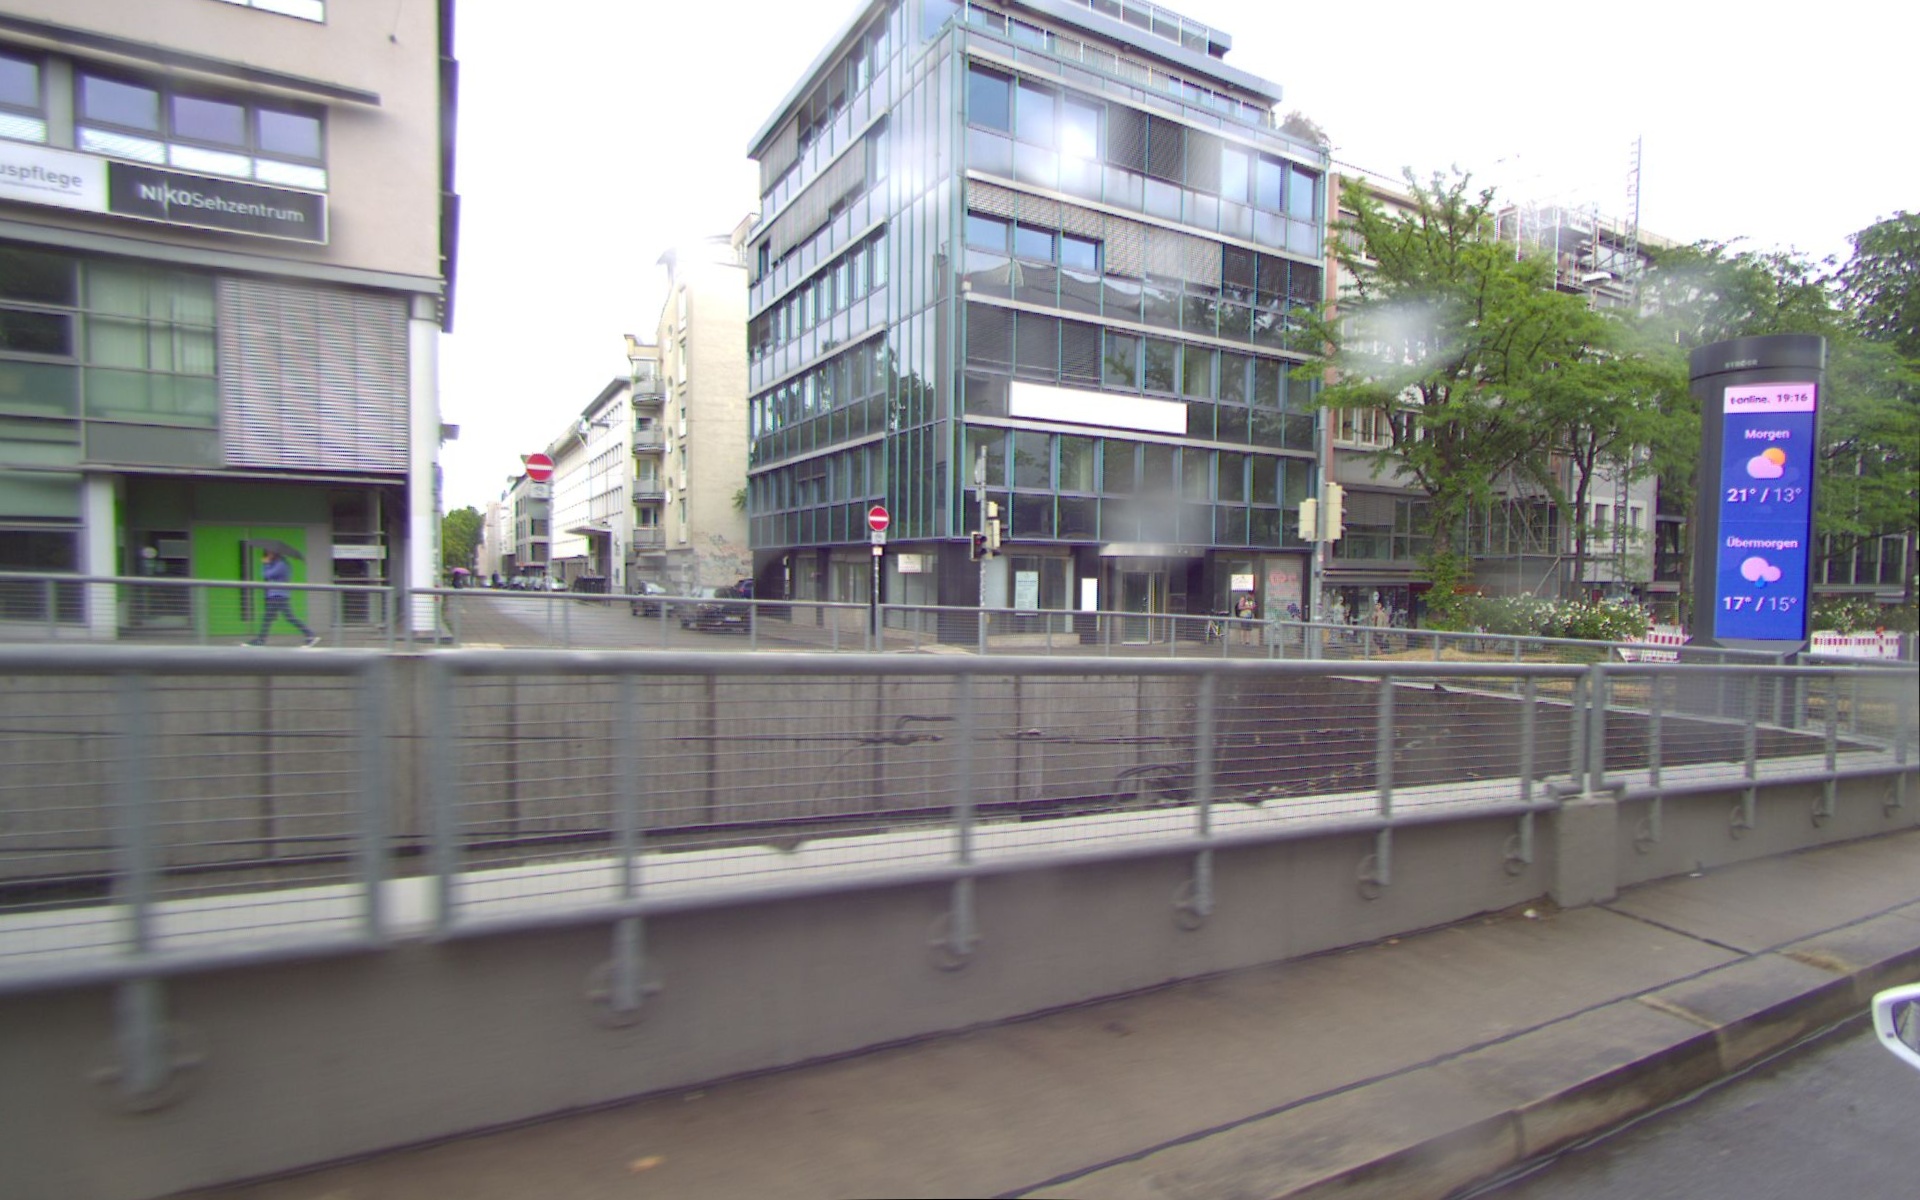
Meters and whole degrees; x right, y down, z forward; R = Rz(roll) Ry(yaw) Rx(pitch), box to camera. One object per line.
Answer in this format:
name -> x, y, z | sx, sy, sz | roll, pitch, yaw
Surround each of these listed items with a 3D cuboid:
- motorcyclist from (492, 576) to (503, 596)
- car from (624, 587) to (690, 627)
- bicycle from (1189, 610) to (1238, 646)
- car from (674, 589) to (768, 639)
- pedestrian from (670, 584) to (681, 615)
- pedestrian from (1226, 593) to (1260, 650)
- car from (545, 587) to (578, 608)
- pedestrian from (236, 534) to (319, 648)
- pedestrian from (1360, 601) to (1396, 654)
motorcyclist -> -42.468, -1.288, 92.220 | 0.850, 1.832, 1.007 | 2, 1, -29
car -> -12.994, 0.280, 42.974 | 1.777, 1.578, 3.966 | 1, 0, -31
bicycle -> 7.965, 0.882, 31.566 | 1.544, 1.100, 0.444 | 1, 1, -27
car -> -8.139, 0.453, 34.031 | 1.977, 1.578, 3.966 | 1, 0, -31
pedestrian -> -15.390, -0.018, 54.388 | 0.443, 1.664, 0.326 | 2, 2, -35
pedestrian -> 9.047, 0.692, 32.074 | 0.688, 1.765, 0.691 | 2, 2, -35
car -> -30.850, -0.225, 77.739 | 1.777, 1.578, 3.967 | 1, 0, -30
pedestrian -> -11.560, -0.154, 17.049 | 1.047, 1.863, 0.853 | 2, 2, -30
pedestrian -> 14.144, 0.925, 33.996 | 0.867, 1.765, 0.689 | 2, 2, -32
